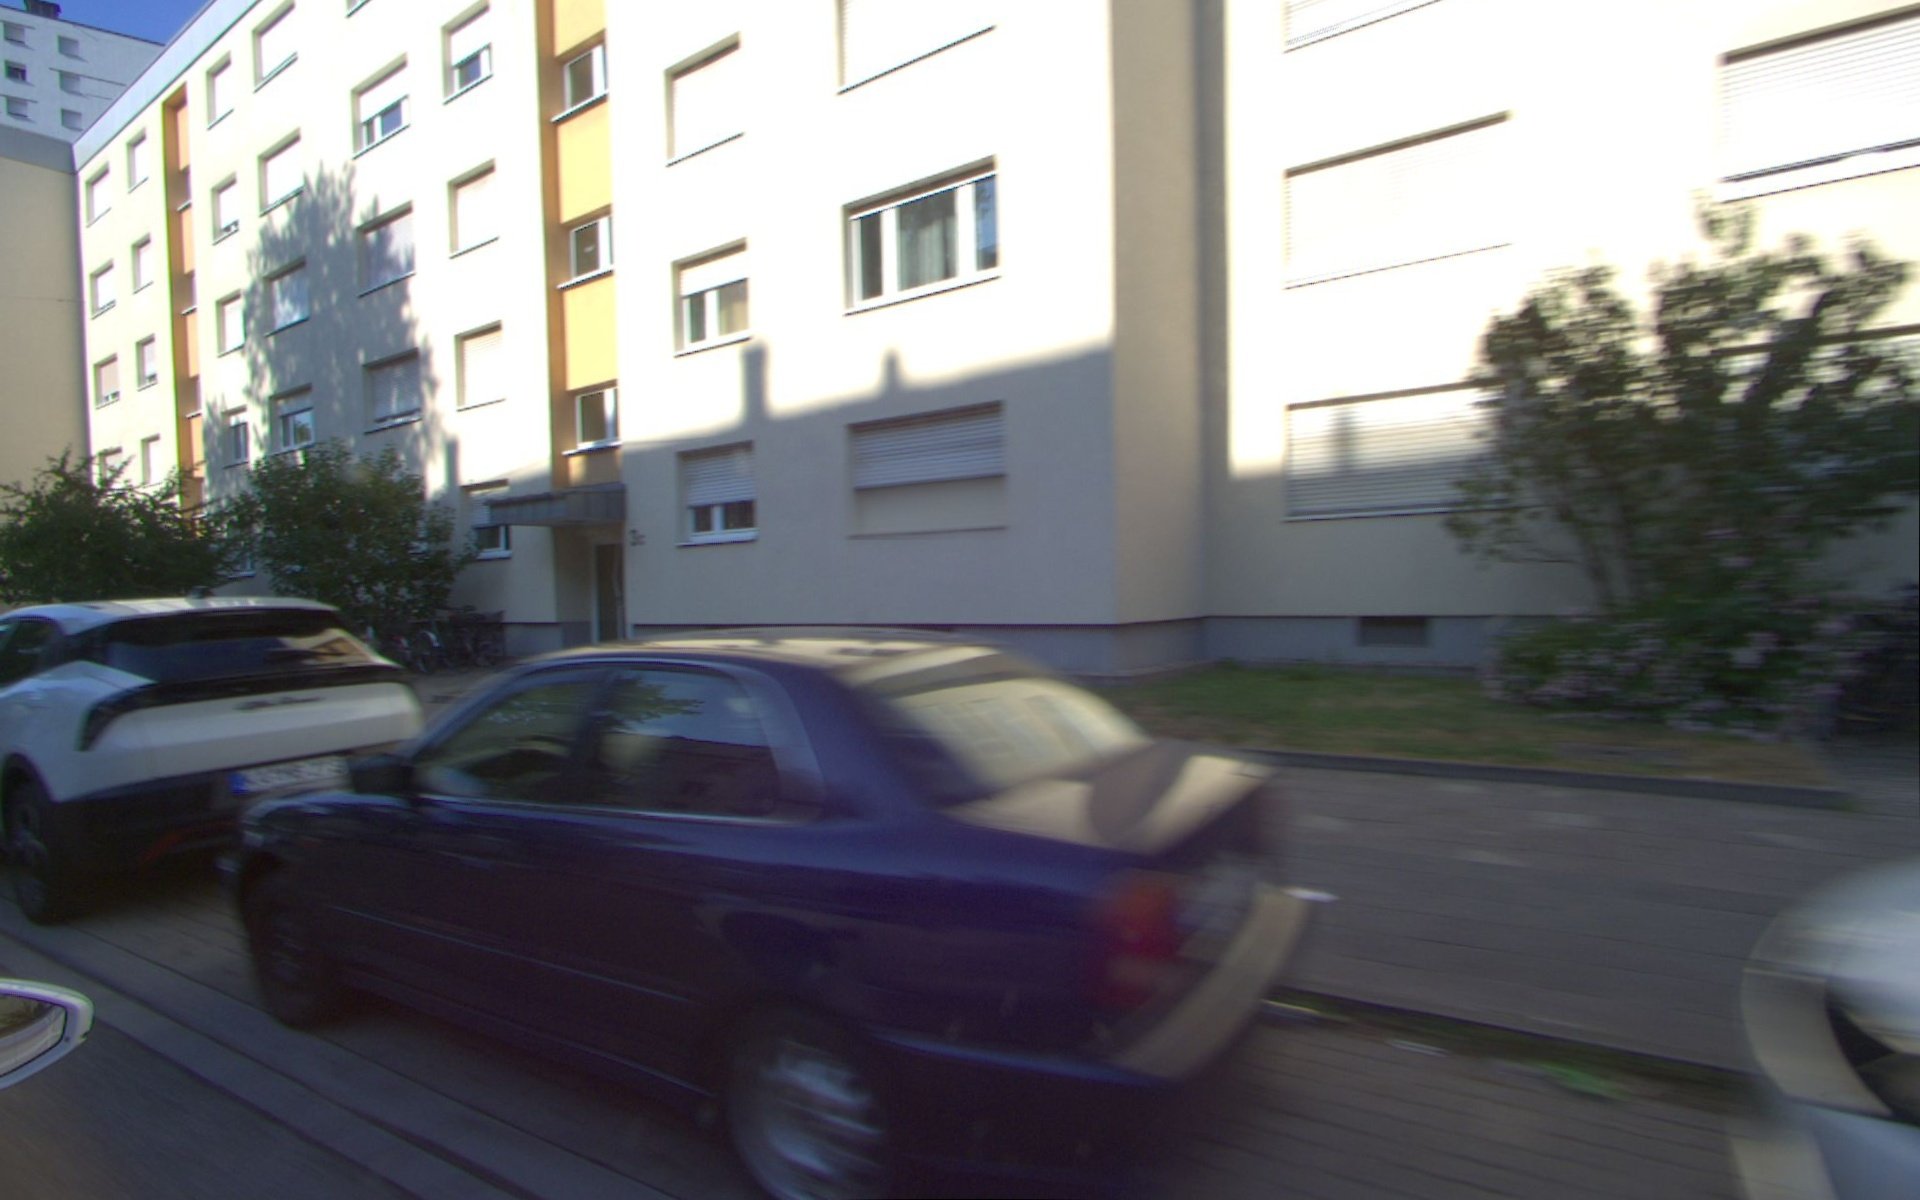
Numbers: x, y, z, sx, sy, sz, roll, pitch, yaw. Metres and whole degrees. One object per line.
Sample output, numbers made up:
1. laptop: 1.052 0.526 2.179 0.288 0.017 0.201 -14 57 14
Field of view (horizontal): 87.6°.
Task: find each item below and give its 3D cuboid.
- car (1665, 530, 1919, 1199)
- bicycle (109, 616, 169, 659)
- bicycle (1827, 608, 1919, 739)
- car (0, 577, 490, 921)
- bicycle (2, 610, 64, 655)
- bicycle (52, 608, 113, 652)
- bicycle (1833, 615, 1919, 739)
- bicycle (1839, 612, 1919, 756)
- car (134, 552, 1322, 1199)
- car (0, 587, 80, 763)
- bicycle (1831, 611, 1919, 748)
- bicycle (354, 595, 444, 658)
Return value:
1. car: 3.163 0.601 0.964 3.944 1.474 1.766 -2 5 33
2. bicycle: -22.934 1.019 27.953 2.359 1.096 0.598 1 2 33
3. bicycle: 7.471 0.531 7.248 1.769 0.954 0.436 -2 -2 38
4. car: -4.971 0.681 6.120 3.942 1.462 1.869 -2 1 31
5. bicycle: -24.193 0.821 26.118 2.359 1.096 0.598 1 2 33
6. bicycle: -23.619 0.780 26.945 2.359 1.096 0.598 1 2 33
7. bicycle: 7.810 0.583 7.582 1.769 0.954 0.436 -2 -2 38
8. bicycle: 6.901 0.543 6.484 1.769 0.954 0.436 -2 -2 38
9. car: -1.097 0.731 3.593 4.252 1.456 1.658 -2 -2 33
10. car: -10.876 0.750 10.081 4.219 1.626 1.958 -2 -1 33
11. bicycle: 7.184 0.544 6.880 1.769 0.954 0.436 -2 -2 38
12. bicycle: -10.752 0.514 19.146 2.363 1.129 0.491 -2 4 36
